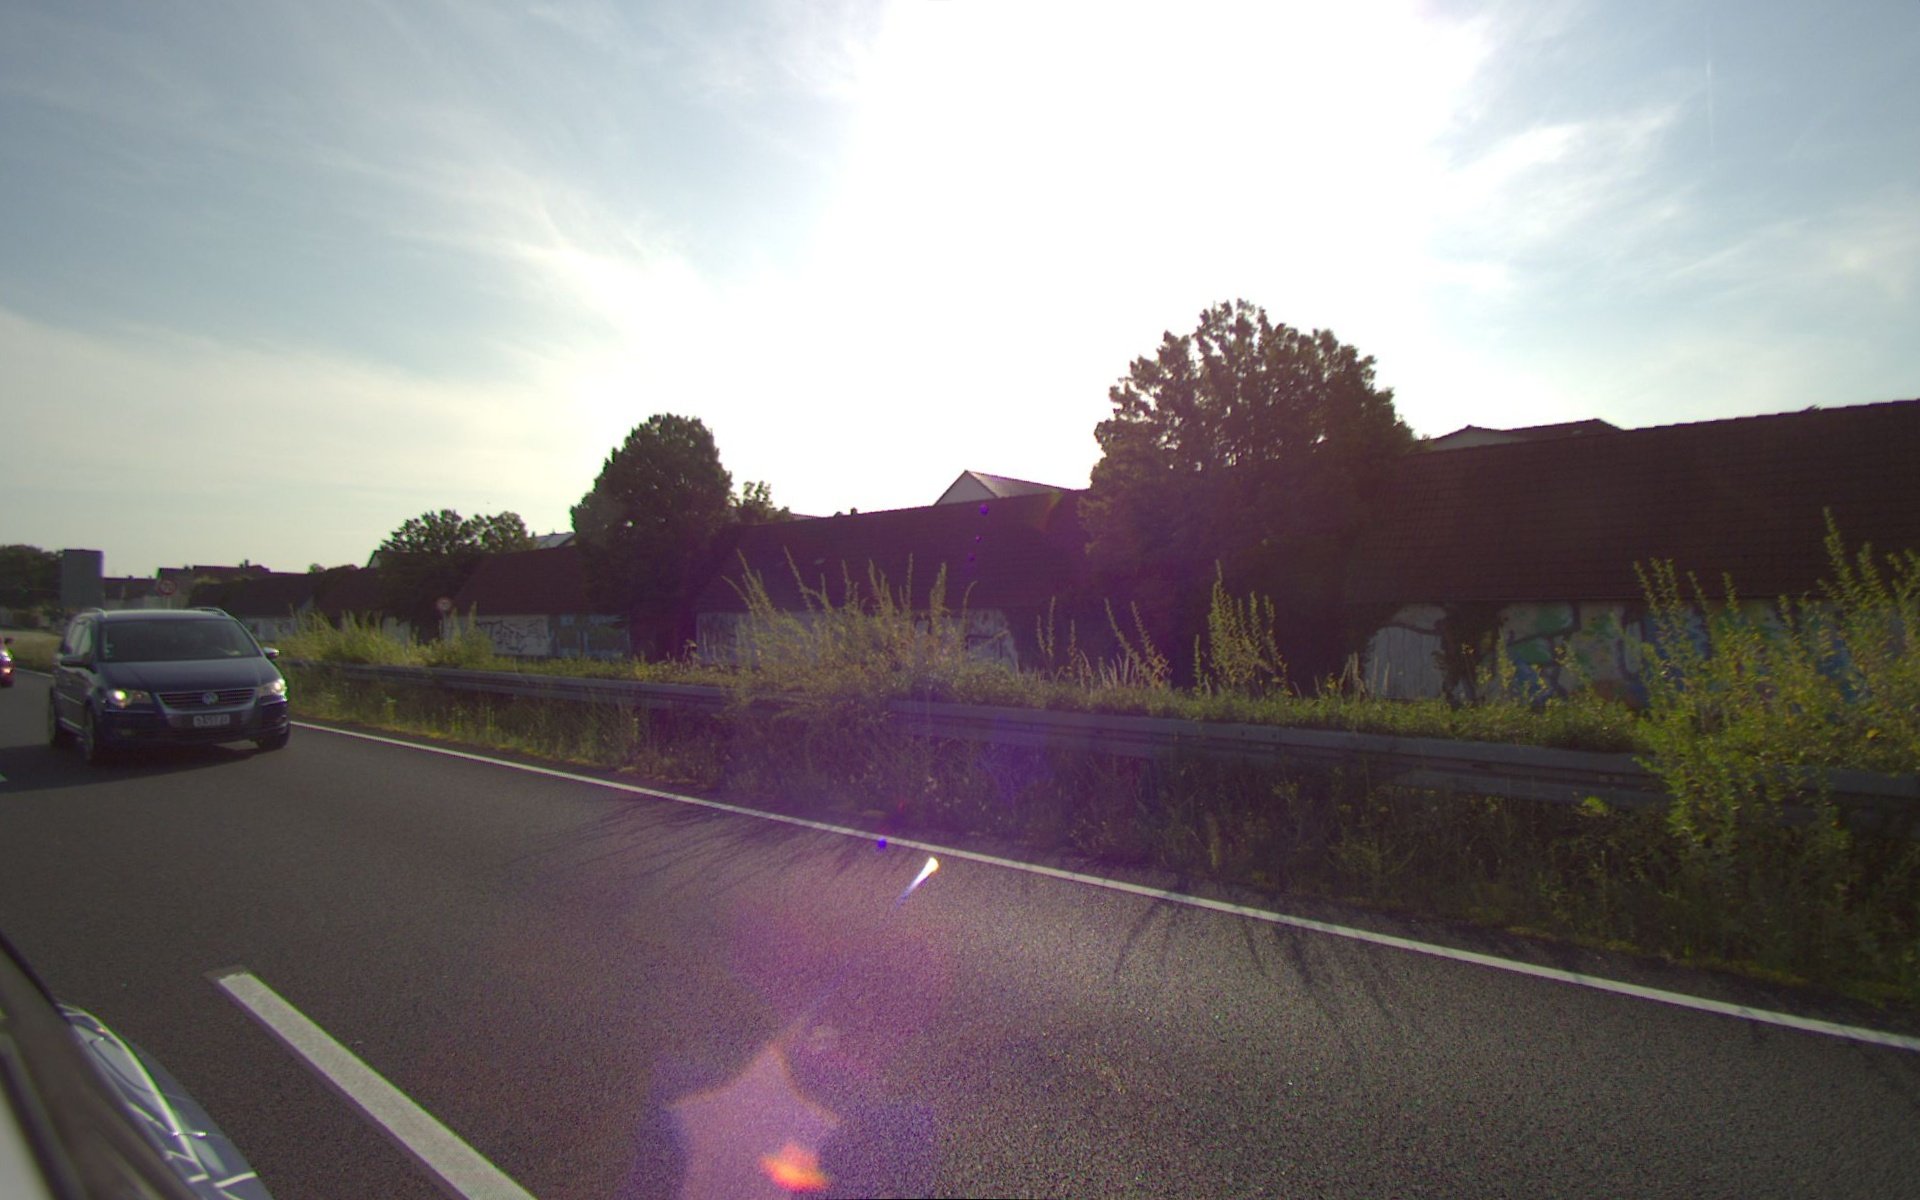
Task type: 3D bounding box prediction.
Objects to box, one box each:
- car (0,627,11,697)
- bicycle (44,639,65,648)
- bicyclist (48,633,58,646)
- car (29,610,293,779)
[{"bbox_3d":[-23.941,1.459,24.045,3.999,1.557,1.725,0,0,42],"label":"car"},{"bbox_3d":[-126.238,6.064,141.130,2.128,1.201,0.905,2,-2,-40],"label":"bicycle"},{"bbox_3d":[-126.360,5.553,141.026,0.844,1.800,0.848,5,-3,-40],"label":"bicyclist"},{"bbox_3d":[-9.636,0.936,12.049,4.681,1.633,1.753,0,-1,43],"label":"car"}]
